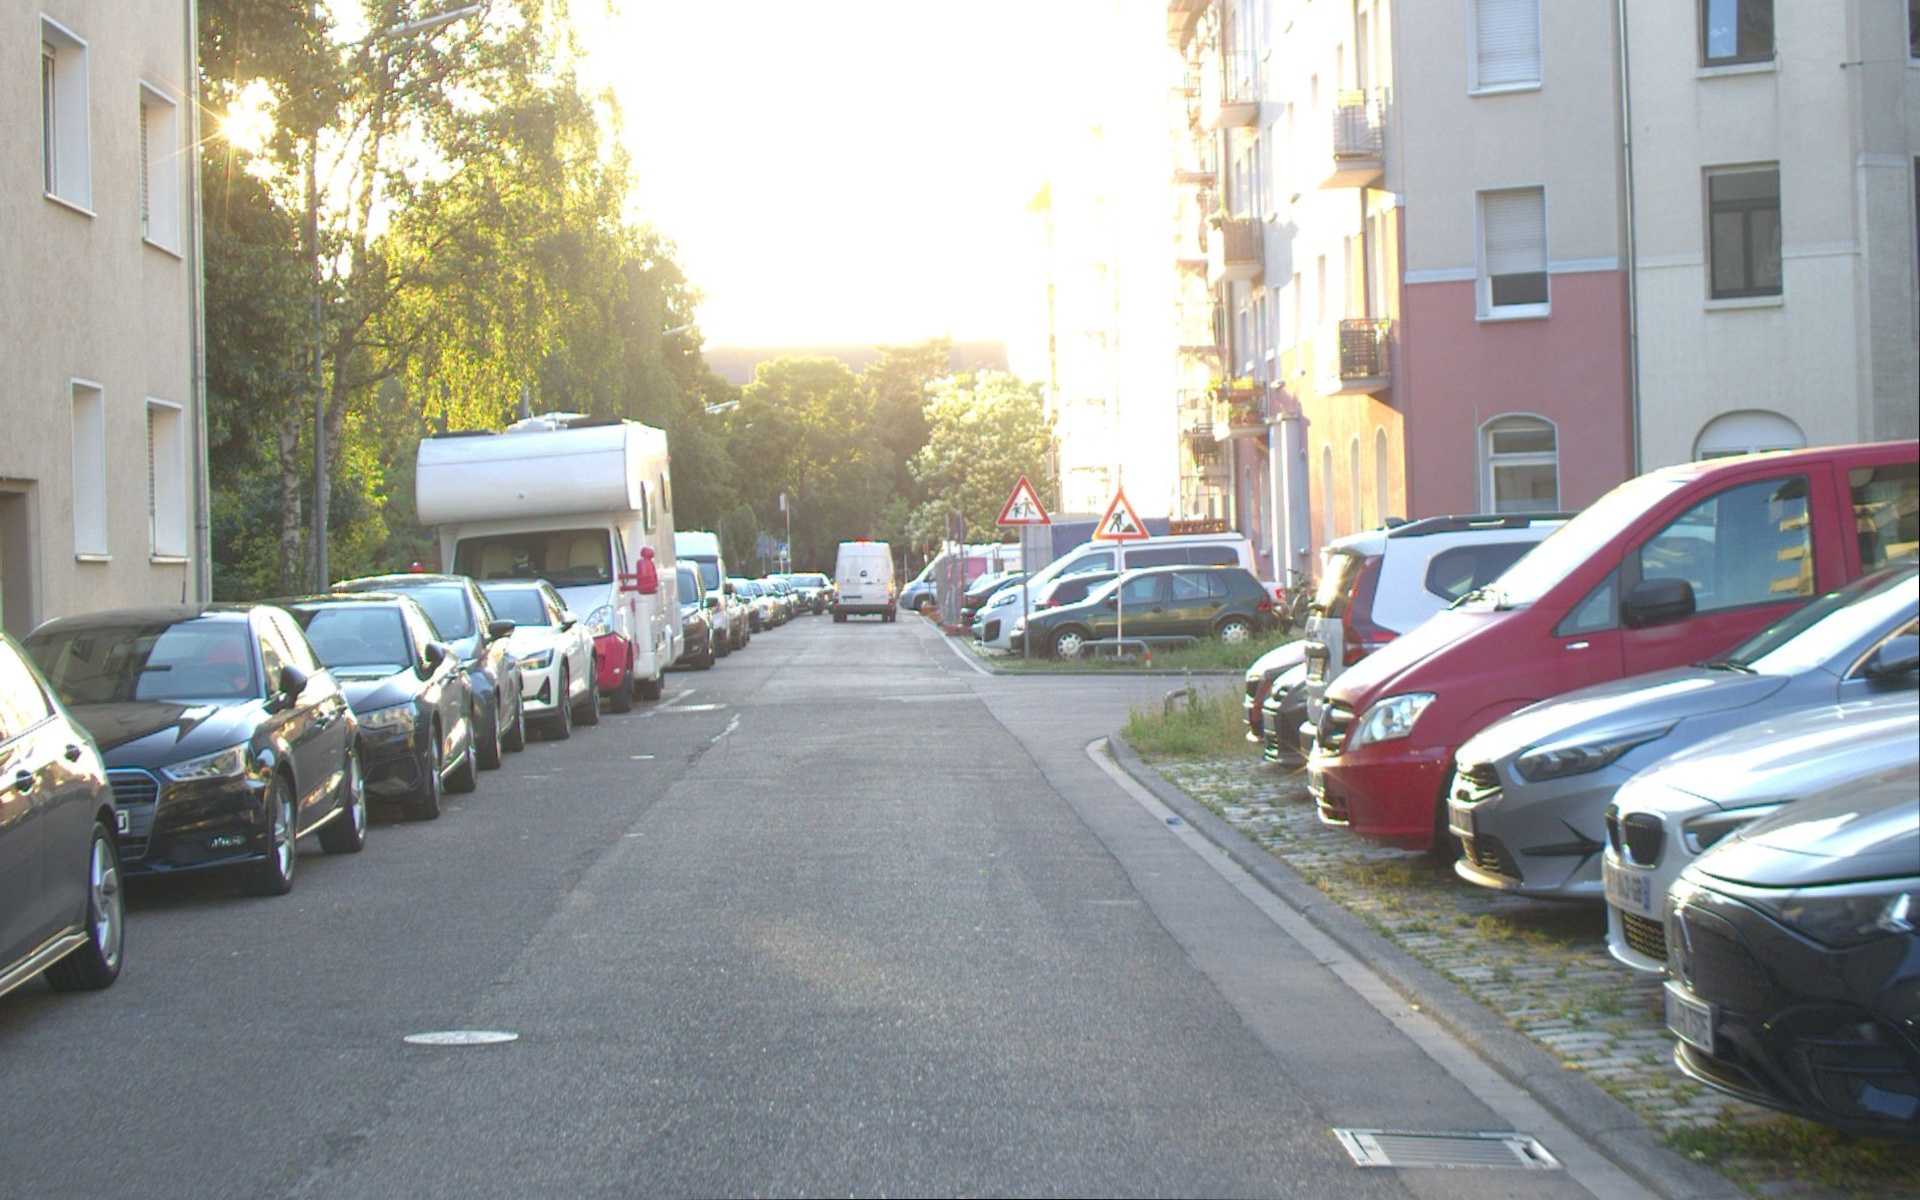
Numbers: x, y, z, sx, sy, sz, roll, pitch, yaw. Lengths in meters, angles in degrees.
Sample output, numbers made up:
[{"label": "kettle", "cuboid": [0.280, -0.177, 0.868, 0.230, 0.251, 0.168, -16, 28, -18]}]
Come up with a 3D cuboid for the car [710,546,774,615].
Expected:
[{"label": "car", "cuboid": [-6.123, -0.570, 96.936, 1.652, 1.824, 3.876, -3, 1, -3]}]

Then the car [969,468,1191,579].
[{"label": "car", "cuboid": [2.261, -1.457, 65.762, 3.986, 2.007, 2.000, -1, 1, -5]}]

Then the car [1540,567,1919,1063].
[{"label": "car", "cuboid": [4.012, 0.566, 11.158, 3.874, 1.411, 1.636, -3, 1, -3]}]

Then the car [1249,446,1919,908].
[{"label": "car", "cuboid": [3.888, 0.276, 16.284, 4.722, 1.903, 2.059, -3, 1, -2]}]

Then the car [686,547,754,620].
[{"label": "car", "cuboid": [-6.399, -0.456, 91.946, 1.652, 1.824, 3.876, -3, 1, -3]}]

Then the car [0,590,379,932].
[{"label": "car", "cuboid": [-4.039, 0.733, 17.438, 1.652, 1.430, 3.796, -3, 1, -3]}]

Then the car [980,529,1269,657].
[{"label": "car", "cuboid": [2.821, -0.135, 59.581, 4.813, 1.961, 1.739, -3, 1, -2]}]

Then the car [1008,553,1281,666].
[{"label": "car", "cuboid": [2.794, 0.132, 52.642, 3.987, 1.525, 1.659, -3, 1, -2]}]

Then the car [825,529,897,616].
[{"label": "car", "cuboid": [-3.312, -0.929, 114.013, 2.128, 2.708, 4.834, -3, 1, -3]}]

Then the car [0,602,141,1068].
[{"label": "car", "cuboid": [-3.910, 0.799, 11.150, 1.659, 1.430, 4.032, -3, 1, -3]}]

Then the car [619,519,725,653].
[{"label": "car", "cuboid": [-5.575, -0.307, 67.082, 1.769, 2.437, 5.146, -3, 1, -3]}]

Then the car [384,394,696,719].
[{"label": "car", "cuboid": [-4.673, -0.524, 39.677, 2.620, 3.257, 7.697, -3, 1, -1]}]

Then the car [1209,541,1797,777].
[{"label": "car", "cuboid": [3.786, 0.392, 24.366, 3.811, 1.423, 1.635, -3, 1, -2]}]

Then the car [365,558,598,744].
[{"label": "car", "cuboid": [-4.426, 0.429, 32.263, 1.653, 1.536, 3.876, -3, 1, -1]}]

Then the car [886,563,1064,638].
[{"label": "car", "cuboid": [0.324, 0.001, 79.158, 3.987, 1.525, 1.659, -3, 1, -2]}]

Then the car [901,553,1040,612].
[{"label": "car", "cuboid": [0.291, -0.520, 101.575, 3.987, 1.525, 1.659, -3, 1, -2]}]

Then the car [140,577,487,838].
[{"label": "car", "cuboid": [-4.129, 0.629, 22.488, 1.652, 1.430, 3.876, -3, 1, -3]}]

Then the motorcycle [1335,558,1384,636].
[{"label": "motorcycle", "cuboid": [6.530, -0.060, 56.252, 0.517, 1.224, 1.981, -1, 1, -2]}]

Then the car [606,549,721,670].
[{"label": "car", "cuboid": [-4.851, 0.123, 56.628, 1.652, 1.824, 3.876, -3, 1, -3]}]

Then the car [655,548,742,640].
[{"label": "car", "cuboid": [-5.569, -0.152, 73.527, 1.652, 1.824, 3.876, -3, 1, -3]}]

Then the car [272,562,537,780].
[{"label": "car", "cuboid": [-4.483, 0.519, 28.219, 1.652, 1.559, 3.876, -3, 1, -3]}]

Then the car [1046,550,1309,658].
[{"label": "car", "cuboid": [3.450, 0.050, 54.972, 3.987, 1.525, 1.659, -3, 1, -2]}]

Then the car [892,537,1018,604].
[{"label": "car", "cuboid": [-0.220, -1.185, 135.721, 4.813, 2.399, 1.739, -3, 1, -2]}]

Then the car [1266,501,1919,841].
[{"label": "car", "cuboid": [4.005, 0.338, 19.144, 4.323, 1.632, 1.818, -3, 1, -2]}]

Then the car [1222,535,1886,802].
[{"label": "car", "cuboid": [3.675, 0.402, 21.685, 3.811, 1.423, 1.635, -3, 1, -2]}]

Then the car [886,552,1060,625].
[{"label": "car", "cuboid": [0.281, -0.280, 80.995, 3.987, 1.525, 1.659, -3, 1, -2]}]

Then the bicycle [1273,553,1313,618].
[{"label": "bicycle", "cuboid": [6.470, -0.286, 66.788, 0.517, 1.224, 1.981, -1, 1, -2]}]

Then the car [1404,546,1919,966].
[{"label": "car", "cuboid": [4.003, 0.520, 13.736, 4.144, 1.466, 1.636, -3, 1, -2]}]

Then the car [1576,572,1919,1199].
[{"label": "car", "cuboid": [3.890, 0.591, 8.637, 4.308, 1.444, 1.655, -3, 1, -1]}]
